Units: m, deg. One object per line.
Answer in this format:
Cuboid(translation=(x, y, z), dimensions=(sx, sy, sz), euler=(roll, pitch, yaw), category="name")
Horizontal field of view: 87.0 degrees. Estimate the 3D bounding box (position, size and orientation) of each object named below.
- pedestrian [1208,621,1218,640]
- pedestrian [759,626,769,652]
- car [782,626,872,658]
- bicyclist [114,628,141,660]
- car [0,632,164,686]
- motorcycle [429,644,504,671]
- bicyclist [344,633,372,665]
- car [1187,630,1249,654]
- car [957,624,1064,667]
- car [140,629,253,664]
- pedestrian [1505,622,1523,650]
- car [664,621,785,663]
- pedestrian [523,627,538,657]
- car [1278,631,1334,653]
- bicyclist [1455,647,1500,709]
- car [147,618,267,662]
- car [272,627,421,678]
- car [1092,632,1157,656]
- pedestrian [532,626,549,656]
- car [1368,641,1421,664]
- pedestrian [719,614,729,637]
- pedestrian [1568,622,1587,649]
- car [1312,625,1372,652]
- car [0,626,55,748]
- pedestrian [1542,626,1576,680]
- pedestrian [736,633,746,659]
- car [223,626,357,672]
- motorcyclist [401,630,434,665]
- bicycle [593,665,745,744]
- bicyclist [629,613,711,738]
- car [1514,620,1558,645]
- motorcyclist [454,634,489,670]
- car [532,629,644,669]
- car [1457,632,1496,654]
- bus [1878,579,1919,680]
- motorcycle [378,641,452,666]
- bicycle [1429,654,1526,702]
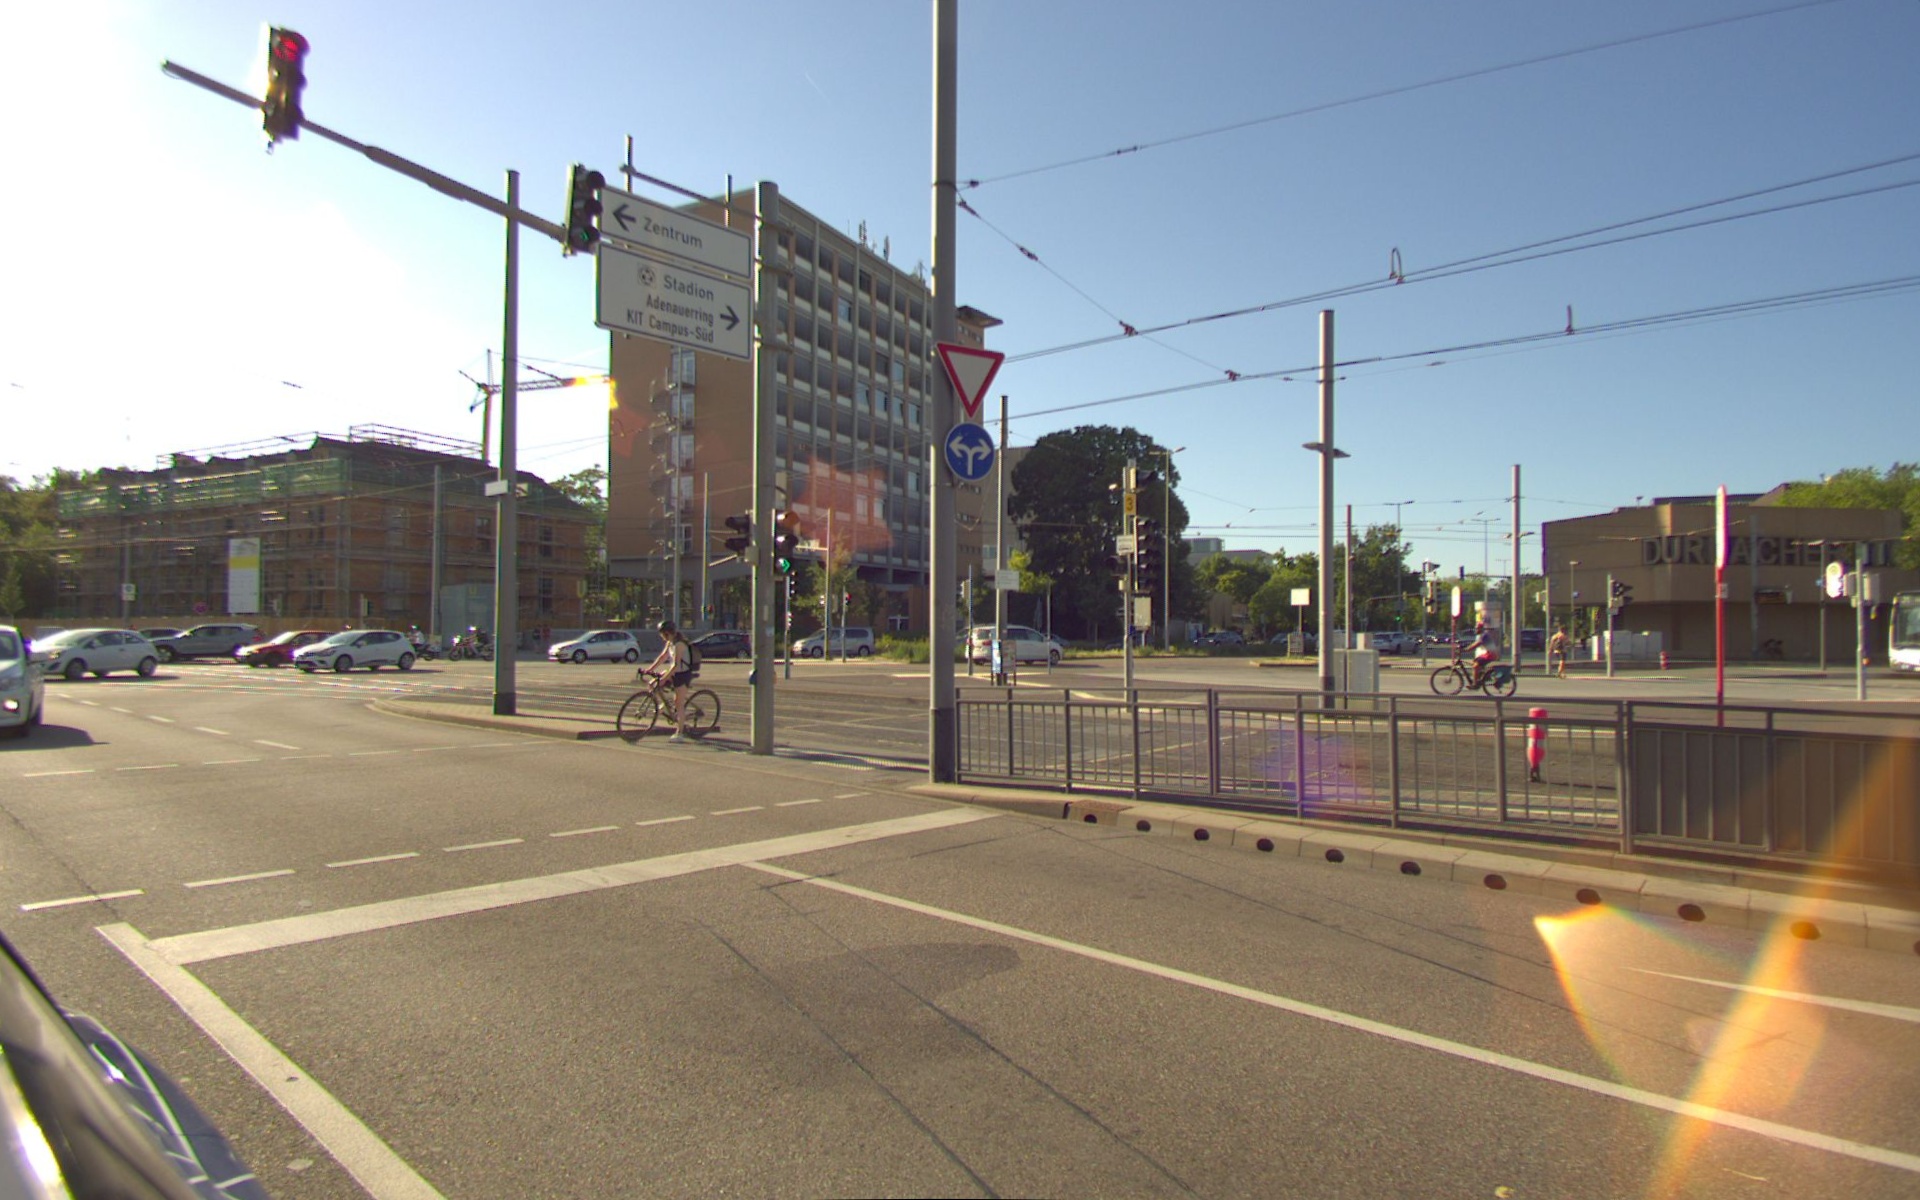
Cuboid(translation=(22.663, 2.764, 90.719), dimensions=(0.582, 1.674, 0.567), euler=(2, -5, -35), category="pedestrian")
Cuboid(translation=(-13.459, 2.663, 69.425), dimensions=(0.614, 1.725, 0.487), euler=(0, -4, -15), category="pedestrian")
Cuboid(translation=(-7.566, 2.385, 57.690), dimensions=(4.627, 1.697, 2.006), euler=(1, -5, -31), category="car")
Cuboid(translation=(-46.444, 2.470, 56.446), dimensions=(0.999, 1.721, 0.696), euler=(2, 1, -29), category="bicyclist")
Cuboid(translation=(-26.232, 1.701, 30.169), dimensions=(1.761, 1.475, 3.911), euler=(1, -2, 4), category="car")
Cuboid(translation=(-23.661, 2.743, 48.540), dimensions=(3.177, 1.204, 1.121), euler=(1, -5, -29), category="motorcycle")
Cuboid(translation=(-31.673, 2.548, 53.242), dimensions=(1.003, 1.599, 0.694), euler=(2, 0, 1), category="bicyclist")
Cuboid(translation=(19.736, 3.234, 77.475), dimensions=(4.629, 1.697, 2.005), euler=(2, -5, -35), category="car")
Cuboid(translation=(2.230, 2.001, 44.161), dimensions=(4.390, 1.747, 1.946), euler=(3, -4, -36), category="car")
Cuboid(translation=(-34.576, 2.087, 45.942), dimensions=(3.951, 1.475, 1.761), euler=(0, -1, -32), category="car")
Cuboid(translation=(36.002, 2.356, 65.803), dimensions=(0.803, 1.782, 0.961), euler=(-4, -5, 37), category="pedestrian")
Cuboid(translation=(-12.023, 2.175, 51.806), dimensions=(5.666, 2.029, 2.006), euler=(1, -5, -29), category="car")
Cuboid(translation=(-25.501, 2.500, 60.058), dimensions=(0.612, 1.752, 0.667), euler=(1, -1, -7), category="pedestrian")
Cuboid(translation=(28.741, 3.505, 84.099), dimensions=(4.629, 1.697, 2.005), euler=(2, -5, -35), category="car")
Cuboid(translation=(12.240, 1.830, 23.939), dimensions=(0.899, 1.354, 0.807), euler=(0, 3, 31), category="bicyclist")
Cuboid(translation=(-31.698, 1.651, 42.755), dimensions=(3.933, 1.618, 2.006), euler=(-1, 1, -34), category="car")
Cuboid(translation=(-21.447, 1.785, 35.594), dimensions=(1.983, 1.689, 4.258), euler=(0, -2, 17), category="car")
Cuboid(translation=(12.346, 3.272, 75.851), dimensions=(4.629, 1.697, 2.005), euler=(2, -5, -35), category="car")
Cuboid(translation=(-25.120, 2.458, 60.590), dimensions=(0.721, 1.752, 0.623), euler=(2, -1, -39), category="pedestrian")
Cuboid(translation=(28.420, 3.391, 66.123), dimensions=(1.847, 1.434, 4.369), euler=(-2, -3, 43), category="car")
Cuboid(translation=(-17.442, 1.863, 74.789), dimensions=(0.496, 1.648, 0.574), euler=(3, -6, -42), category="pedestrian")
Cuboid(translation=(37.160, 2.147, 60.870), dimensions=(0.803, 1.580, 1.165), euler=(-4, -5, 37), category="pedestrian")
Cuboid(translation=(25.672, 2.582, 67.970), dimensions=(4.552, 1.760, 1.944), euler=(2, -2, -43), category="car")
Cuboid(translation=(-13.616, 1.102, 13.683), dimensions=(1.694, 1.504, 3.879), euler=(2, -3, -37), category="car")
Cuboid(translation=(19.510, 1.743, 32.992), dimensions=(0.724, 1.699, 1.048), euler=(-3, -5, 23), category="pedestrian")
Cuboid(translation=(-13.968, 2.907, 64.474), dimensions=(0.496, 1.648, 0.428), euler=(3, -6, -42), category="pedestrian")
Cuboid(translation=(-26.203, 1.946, 39.692), dimensions=(1.997, 1.697, 3.949), euler=(-4, -5, 37), category="car")
Cuboid(translation=(-26.831, 2.372, 50.060), dimensions=(1.429, 1.680, 1.121), euler=(1, -5, -29), category="motorcyclist")
Cuboid(translation=(-3.895, 1.378, 13.682), dimensions=(0.814, 0.949, 1.872), euler=(-1, -3, 35), category="bicycle")
Cuboid(translation=(-3.909, 0.996, 13.666), dimensions=(0.814, 1.628, 0.668), euler=(-1, -3, 36), category="bicyclist")
Cuboid(translation=(42.408, 2.396, 74.461), dimensions=(1.865, 1.642, 3.980), euler=(5, 1, 42), category="car")
Cuboid(translation=(-23.481, 2.495, 48.650), dimensions=(1.429, 1.680, 1.121), euler=(1, -5, -29), category="motorcyclist")
Cuboid(translation=(-16.413, 2.120, 44.792), dimensions=(4.220, 1.689, 2.001), euler=(2, -2, -45), category="car")
Cuboid(translation=(39.965, 3.316, 78.244), dimensions=(1.721, 1.643, 3.816), euler=(-4, -4, 42), category="car")
Cuboid(translation=(36.897, 0.828, 32.731), dimensions=(12.465, 3.219, 2.845), euler=(-1, -4, -6), category="bus")
Cuboid(translation=(-26.894, 2.640, 50.026), dimensions=(3.177, 1.204, 1.121), euler=(1, -5, -29), category="motorcycle")
Cuboid(translation=(12.241, 1.830, 23.944), dimensions=(1.995, 0.949, 0.807), euler=(0, 3, 32), category="bicycle")
